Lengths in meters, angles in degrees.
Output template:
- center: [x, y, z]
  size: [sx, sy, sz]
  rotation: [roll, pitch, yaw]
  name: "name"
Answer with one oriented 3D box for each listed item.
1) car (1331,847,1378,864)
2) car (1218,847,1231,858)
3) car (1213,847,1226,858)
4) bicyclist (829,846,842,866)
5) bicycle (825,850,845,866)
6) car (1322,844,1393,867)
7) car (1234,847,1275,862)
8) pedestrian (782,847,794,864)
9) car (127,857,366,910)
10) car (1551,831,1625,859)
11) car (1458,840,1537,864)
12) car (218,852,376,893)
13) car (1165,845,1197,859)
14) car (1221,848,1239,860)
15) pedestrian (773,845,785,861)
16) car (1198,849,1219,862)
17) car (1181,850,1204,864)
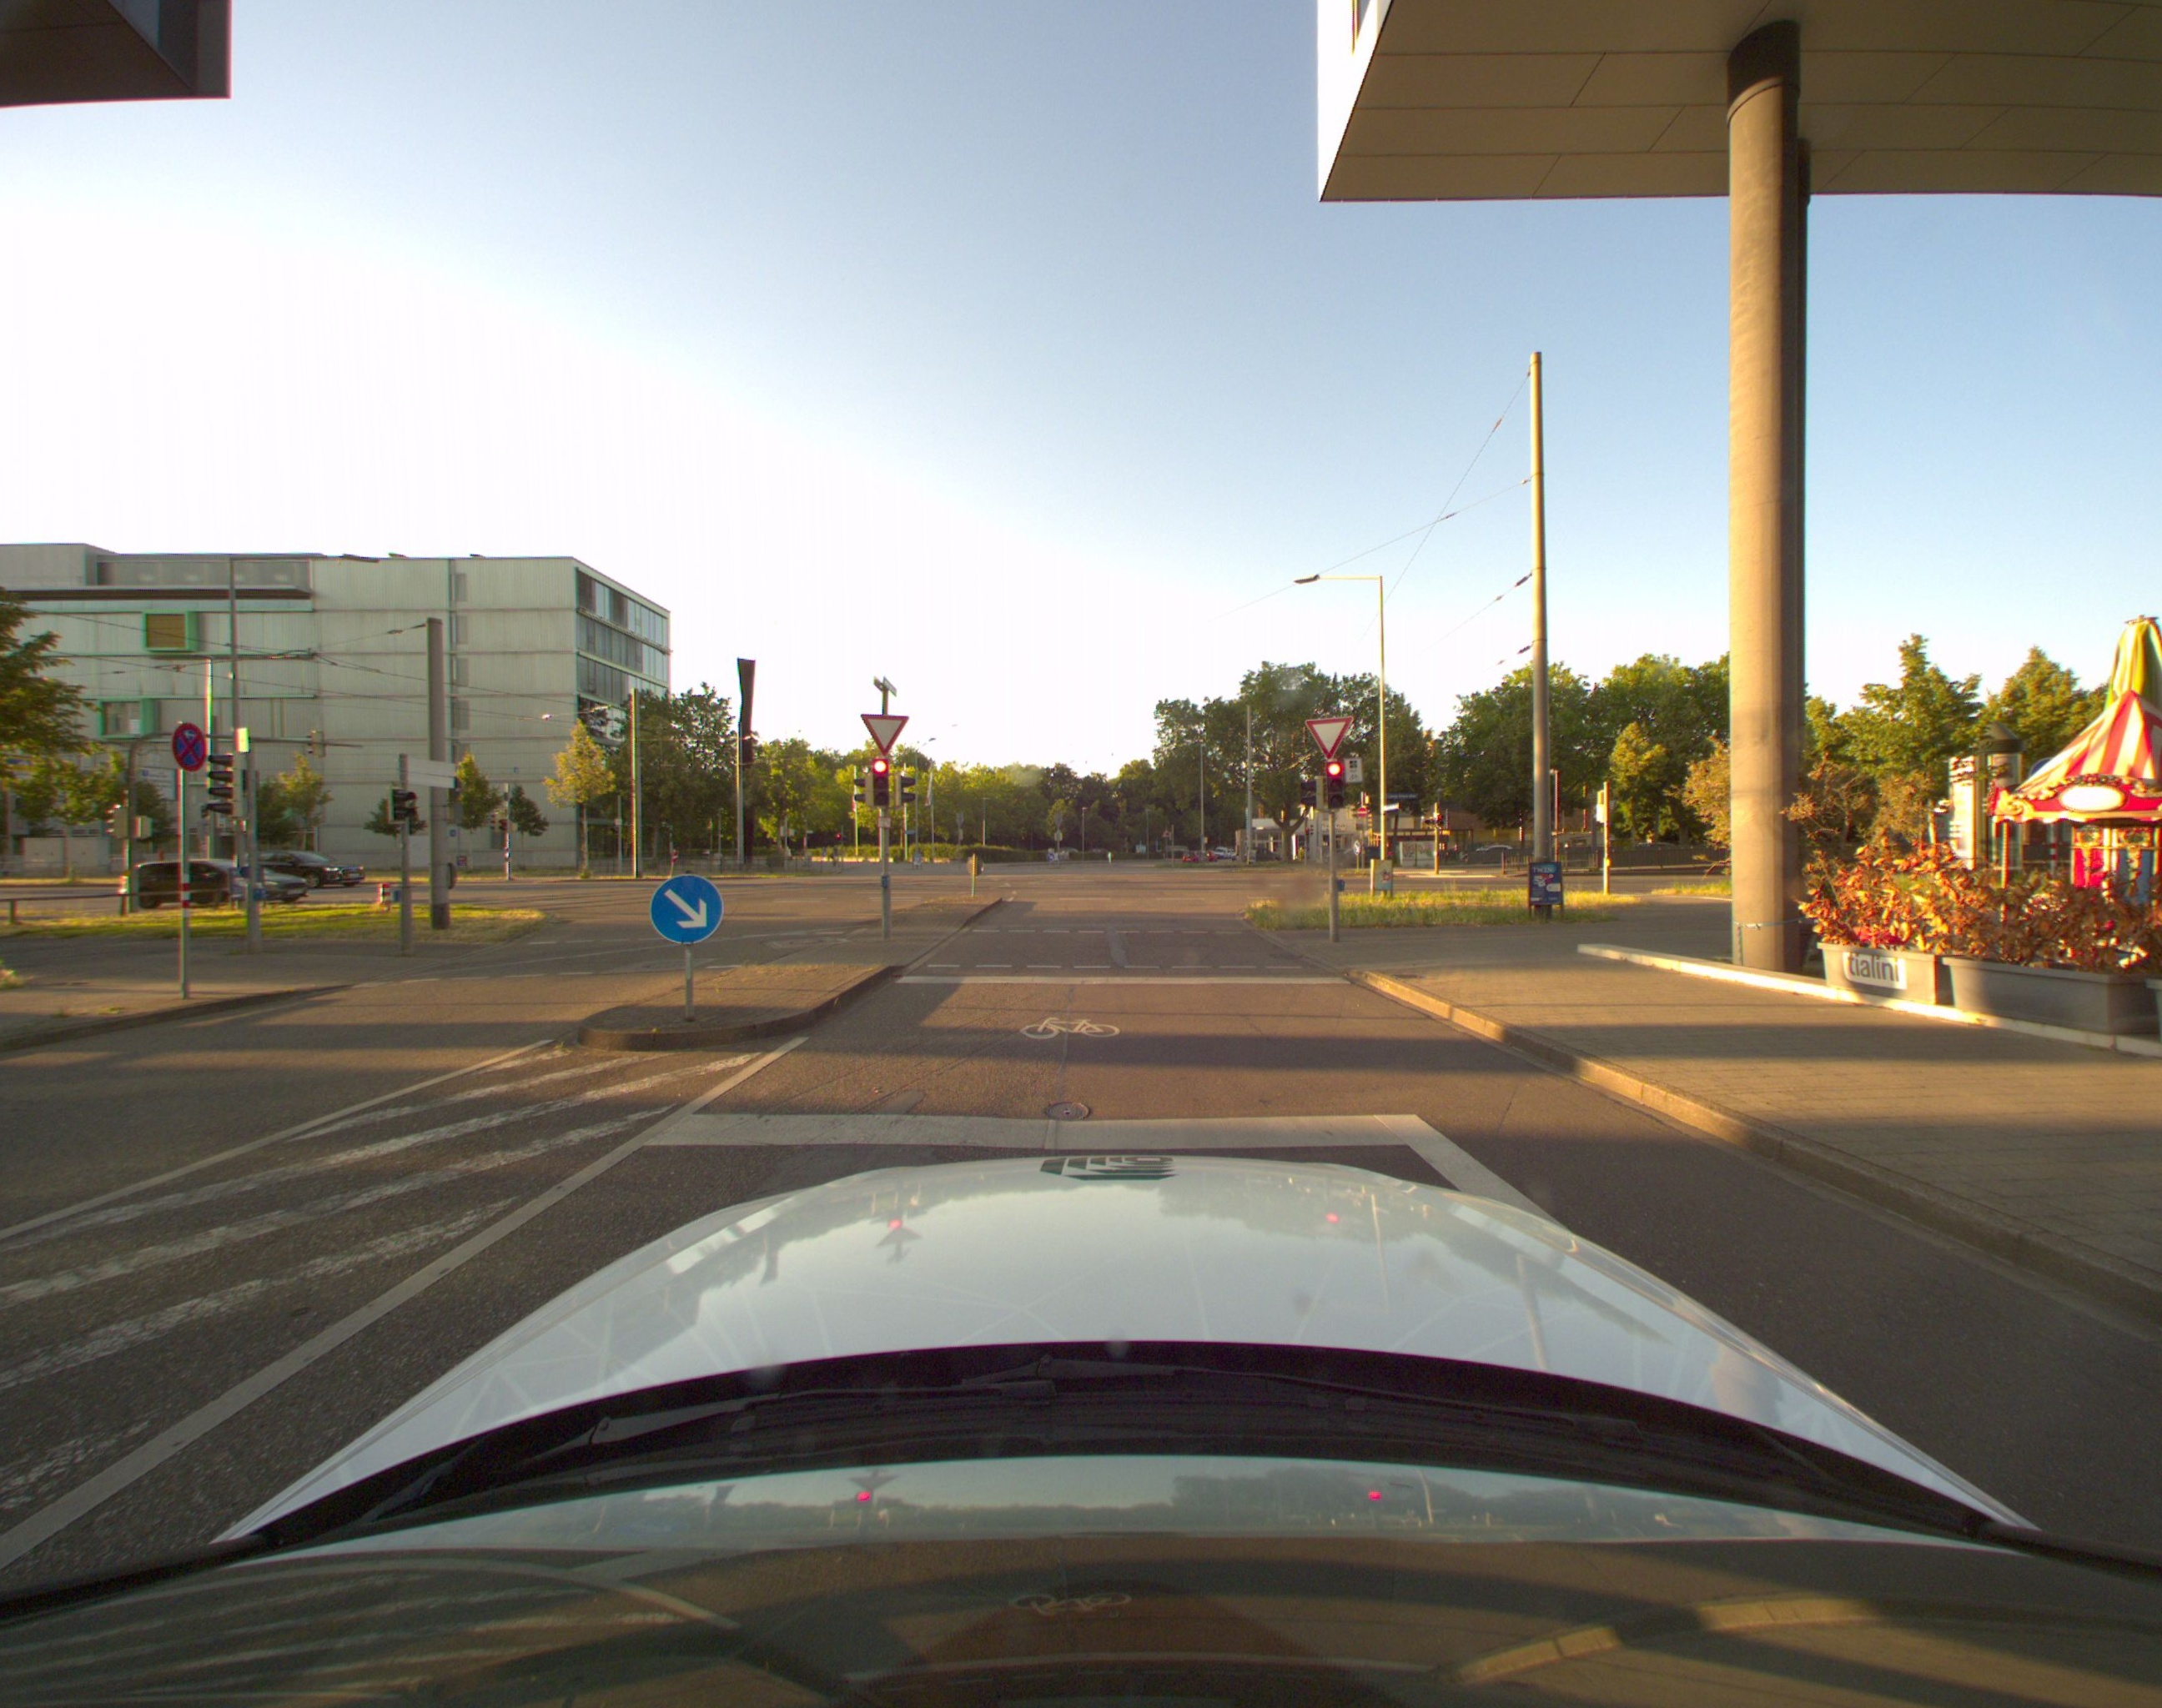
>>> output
- center: [24.062, 0.164, 71.712]
  size: [3.715, 1.440, 1.669]
  rotation: [-1, -1, 11]
  name: "car"
- center: [23.923, -0.253, 135.738]
  size: [1.849, 1.794, 4.015]
  rotation: [-1, -1, 14]
  name: "car"
- center: [22.260, -0.246, 130.880]
  size: [1.850, 1.794, 4.013]
  rotation: [-1, -1, 12]
  name: "car"
- center: [-20.974, 0.160, 69.687]
  size: [0.757, 1.709, 0.909]
  rotation: [-1, 0, -39]
  name: "bicyclist"
- center: [-21.067, 0.348, 69.785]
  size: [0.736, 1.341, 2.660]
  rotation: [-1, 0, -38]
  name: "bicycle"
- center: [19.099, 0.092, 56.332]
  size: [4.313, 1.496, 1.806]
  rotation: [-1, -1, 3]
  name: "car"
- center: [18.915, 0.016, 88.900]
  size: [4.194, 1.552, 2.005]
  rotation: [-1, -1, 9]
  name: "car"
- center: [-31.440, 0.165, 87.353]
  size: [0.852, 1.744, 0.835]
  rotation: [-1, 0, 35]
  name: "pedestrian"
- center: [-26.206, 0.880, 25.784]
  size: [5.010, 1.511, 1.980]
  rotation: [-1, 0, -11]
  name: "car"
- center: [47.891, -0.839, 77.045]
  size: [5.561, 2.551, 2.235]
  rotation: [-1, 0, 9]
  name: "car"
- center: [27.478, -0.121, 53.853]
  size: [4.310, 1.496, 1.807]
  rotation: [-1, -1, 5]
  name: "car"
- center: [-32.513, 0.741, 33.893]
  size: [4.467, 1.557, 1.986]
  rotation: [-1, 0, -4]
  name: "car"
- center: [15.406, -0.328, 125.729]
  size: [4.753, 2.006, 2.002]
  rotation: [-1, -1, 3]
  name: "car"
- center: [21.078, 0.002, 115.300]
  size: [1.978, 1.662, 4.018]
  rotation: [-1, -1, 17]
  name: "car"
- center: [-32.083, -0.107, 86.603]
  size: [0.852, 1.744, 0.835]
  rotation: [-1, 0, 35]
  name: "pedestrian"
- center: [16.199, 0.218, 103.179]
  size: [1.978, 1.662, 4.018]
  rotation: [-1, -1, 17]
  name: "car"
- center: [13.096, 0.381, 95.559]
  size: [1.978, 1.662, 4.018]
  rotation: [-1, -1, 17]
  name: "car"
